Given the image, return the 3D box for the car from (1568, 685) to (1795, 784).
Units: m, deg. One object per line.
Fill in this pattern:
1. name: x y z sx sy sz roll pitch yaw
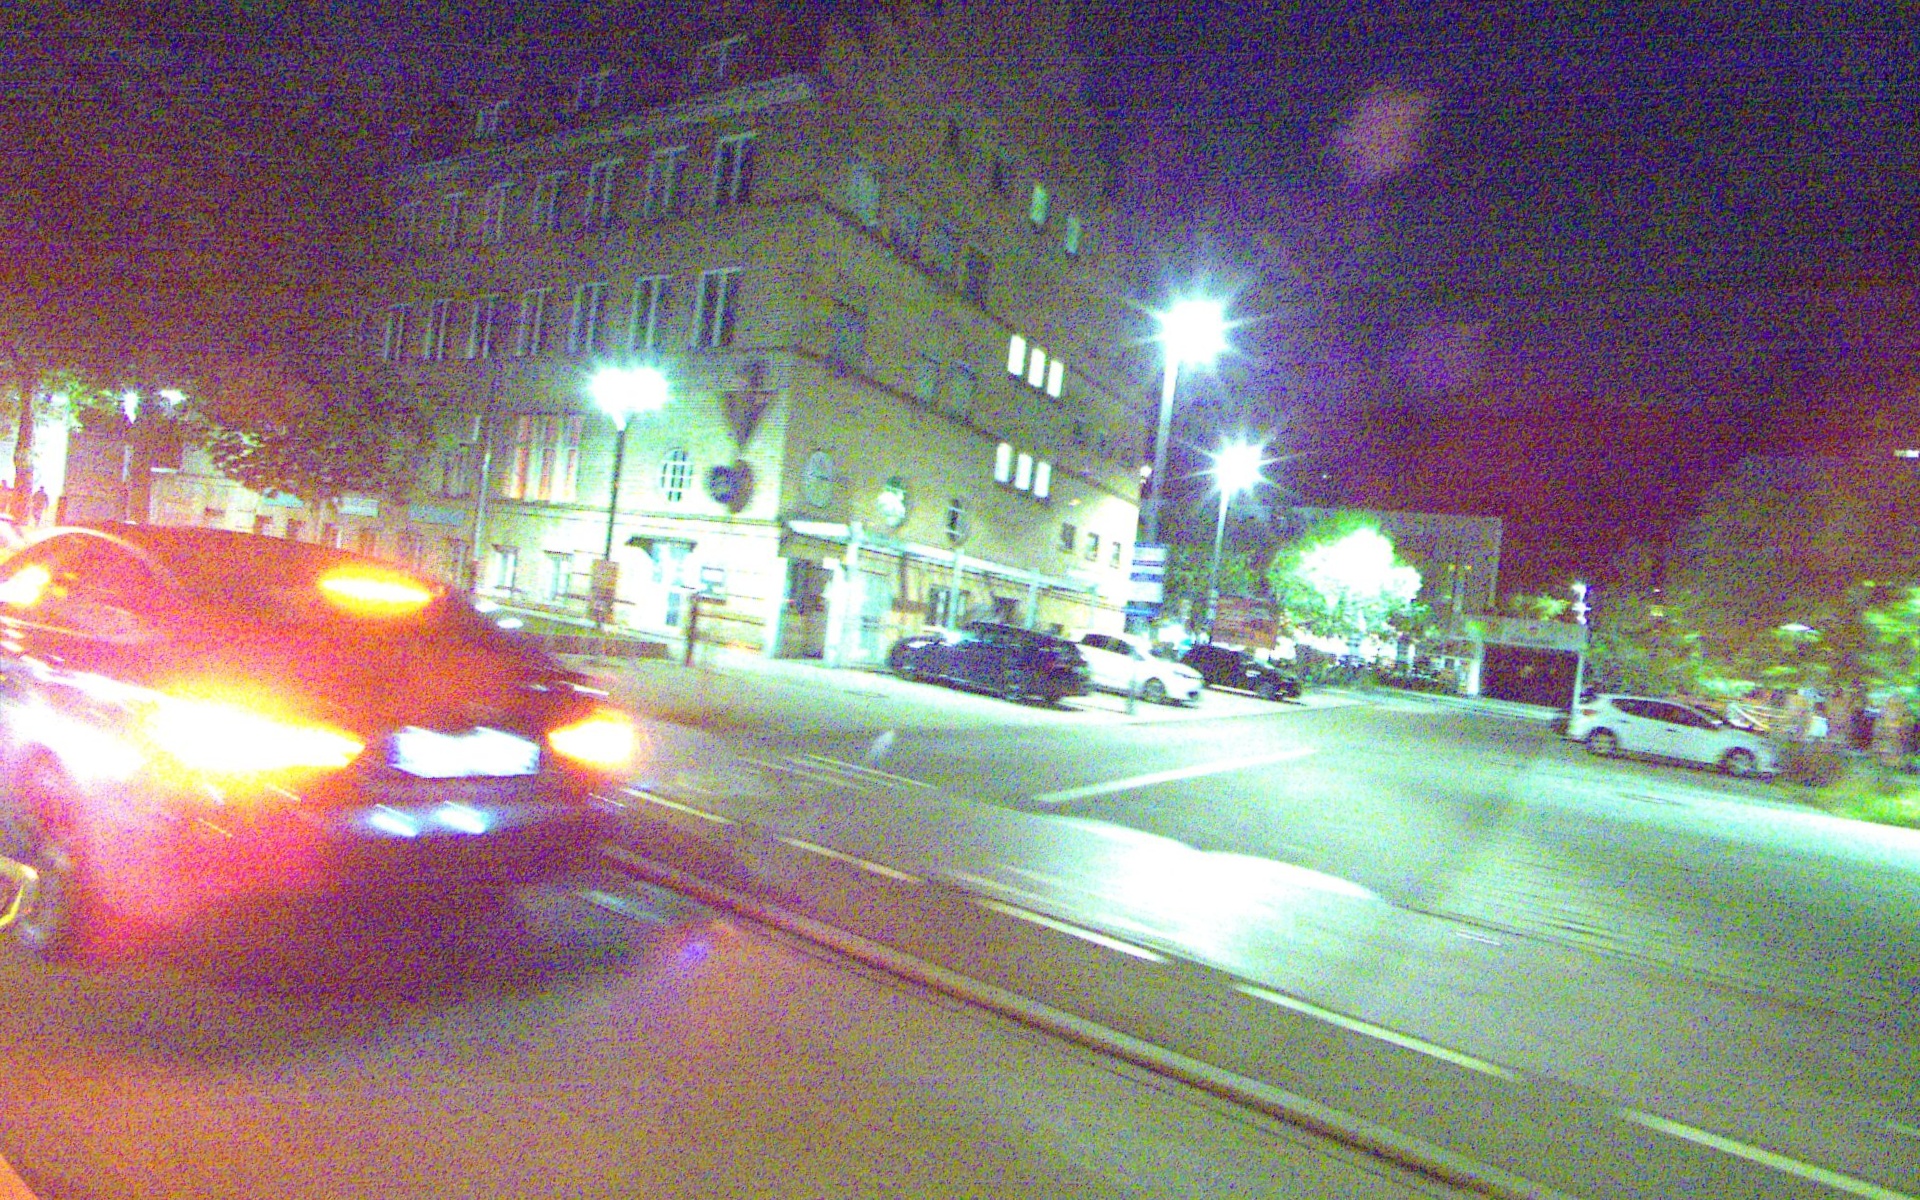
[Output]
1. car: 16.637 3.048 23.476 4.031 1.552 1.770 7 0 33

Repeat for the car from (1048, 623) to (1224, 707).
1. car: 4.464 1.645 25.719 3.936 1.552 1.783 7 0 34

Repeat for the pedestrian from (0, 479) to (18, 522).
1. pedestrian: -42.006 -4.393 44.100 0.892 1.791 0.739 7 1 32

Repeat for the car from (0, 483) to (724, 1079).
1. car: -3.491 0.389 4.695 4.653 1.510 1.809 7 -3 33

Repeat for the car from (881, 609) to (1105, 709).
1. car: 0.595 1.173 20.629 4.412 1.412 1.513 7 0 36

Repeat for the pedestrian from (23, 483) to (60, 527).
1. pedestrian: -41.285 -4.281 45.203 0.892 1.791 0.901 7 1 32

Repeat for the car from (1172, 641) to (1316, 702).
1. car: 9.518 2.393 33.791 4.170 1.446 1.996 7 0 32

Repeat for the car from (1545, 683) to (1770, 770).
1. car: 18.941 3.397 27.636 4.810 1.531 1.891 7 0 31

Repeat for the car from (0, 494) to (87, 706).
1. car: -8.789 -0.246 7.964 3.934 1.511 1.641 7 -2 32

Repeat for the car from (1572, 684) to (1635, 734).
1. car: 28.251 4.741 44.131 2.046 1.787 4.541 7 -1 34
